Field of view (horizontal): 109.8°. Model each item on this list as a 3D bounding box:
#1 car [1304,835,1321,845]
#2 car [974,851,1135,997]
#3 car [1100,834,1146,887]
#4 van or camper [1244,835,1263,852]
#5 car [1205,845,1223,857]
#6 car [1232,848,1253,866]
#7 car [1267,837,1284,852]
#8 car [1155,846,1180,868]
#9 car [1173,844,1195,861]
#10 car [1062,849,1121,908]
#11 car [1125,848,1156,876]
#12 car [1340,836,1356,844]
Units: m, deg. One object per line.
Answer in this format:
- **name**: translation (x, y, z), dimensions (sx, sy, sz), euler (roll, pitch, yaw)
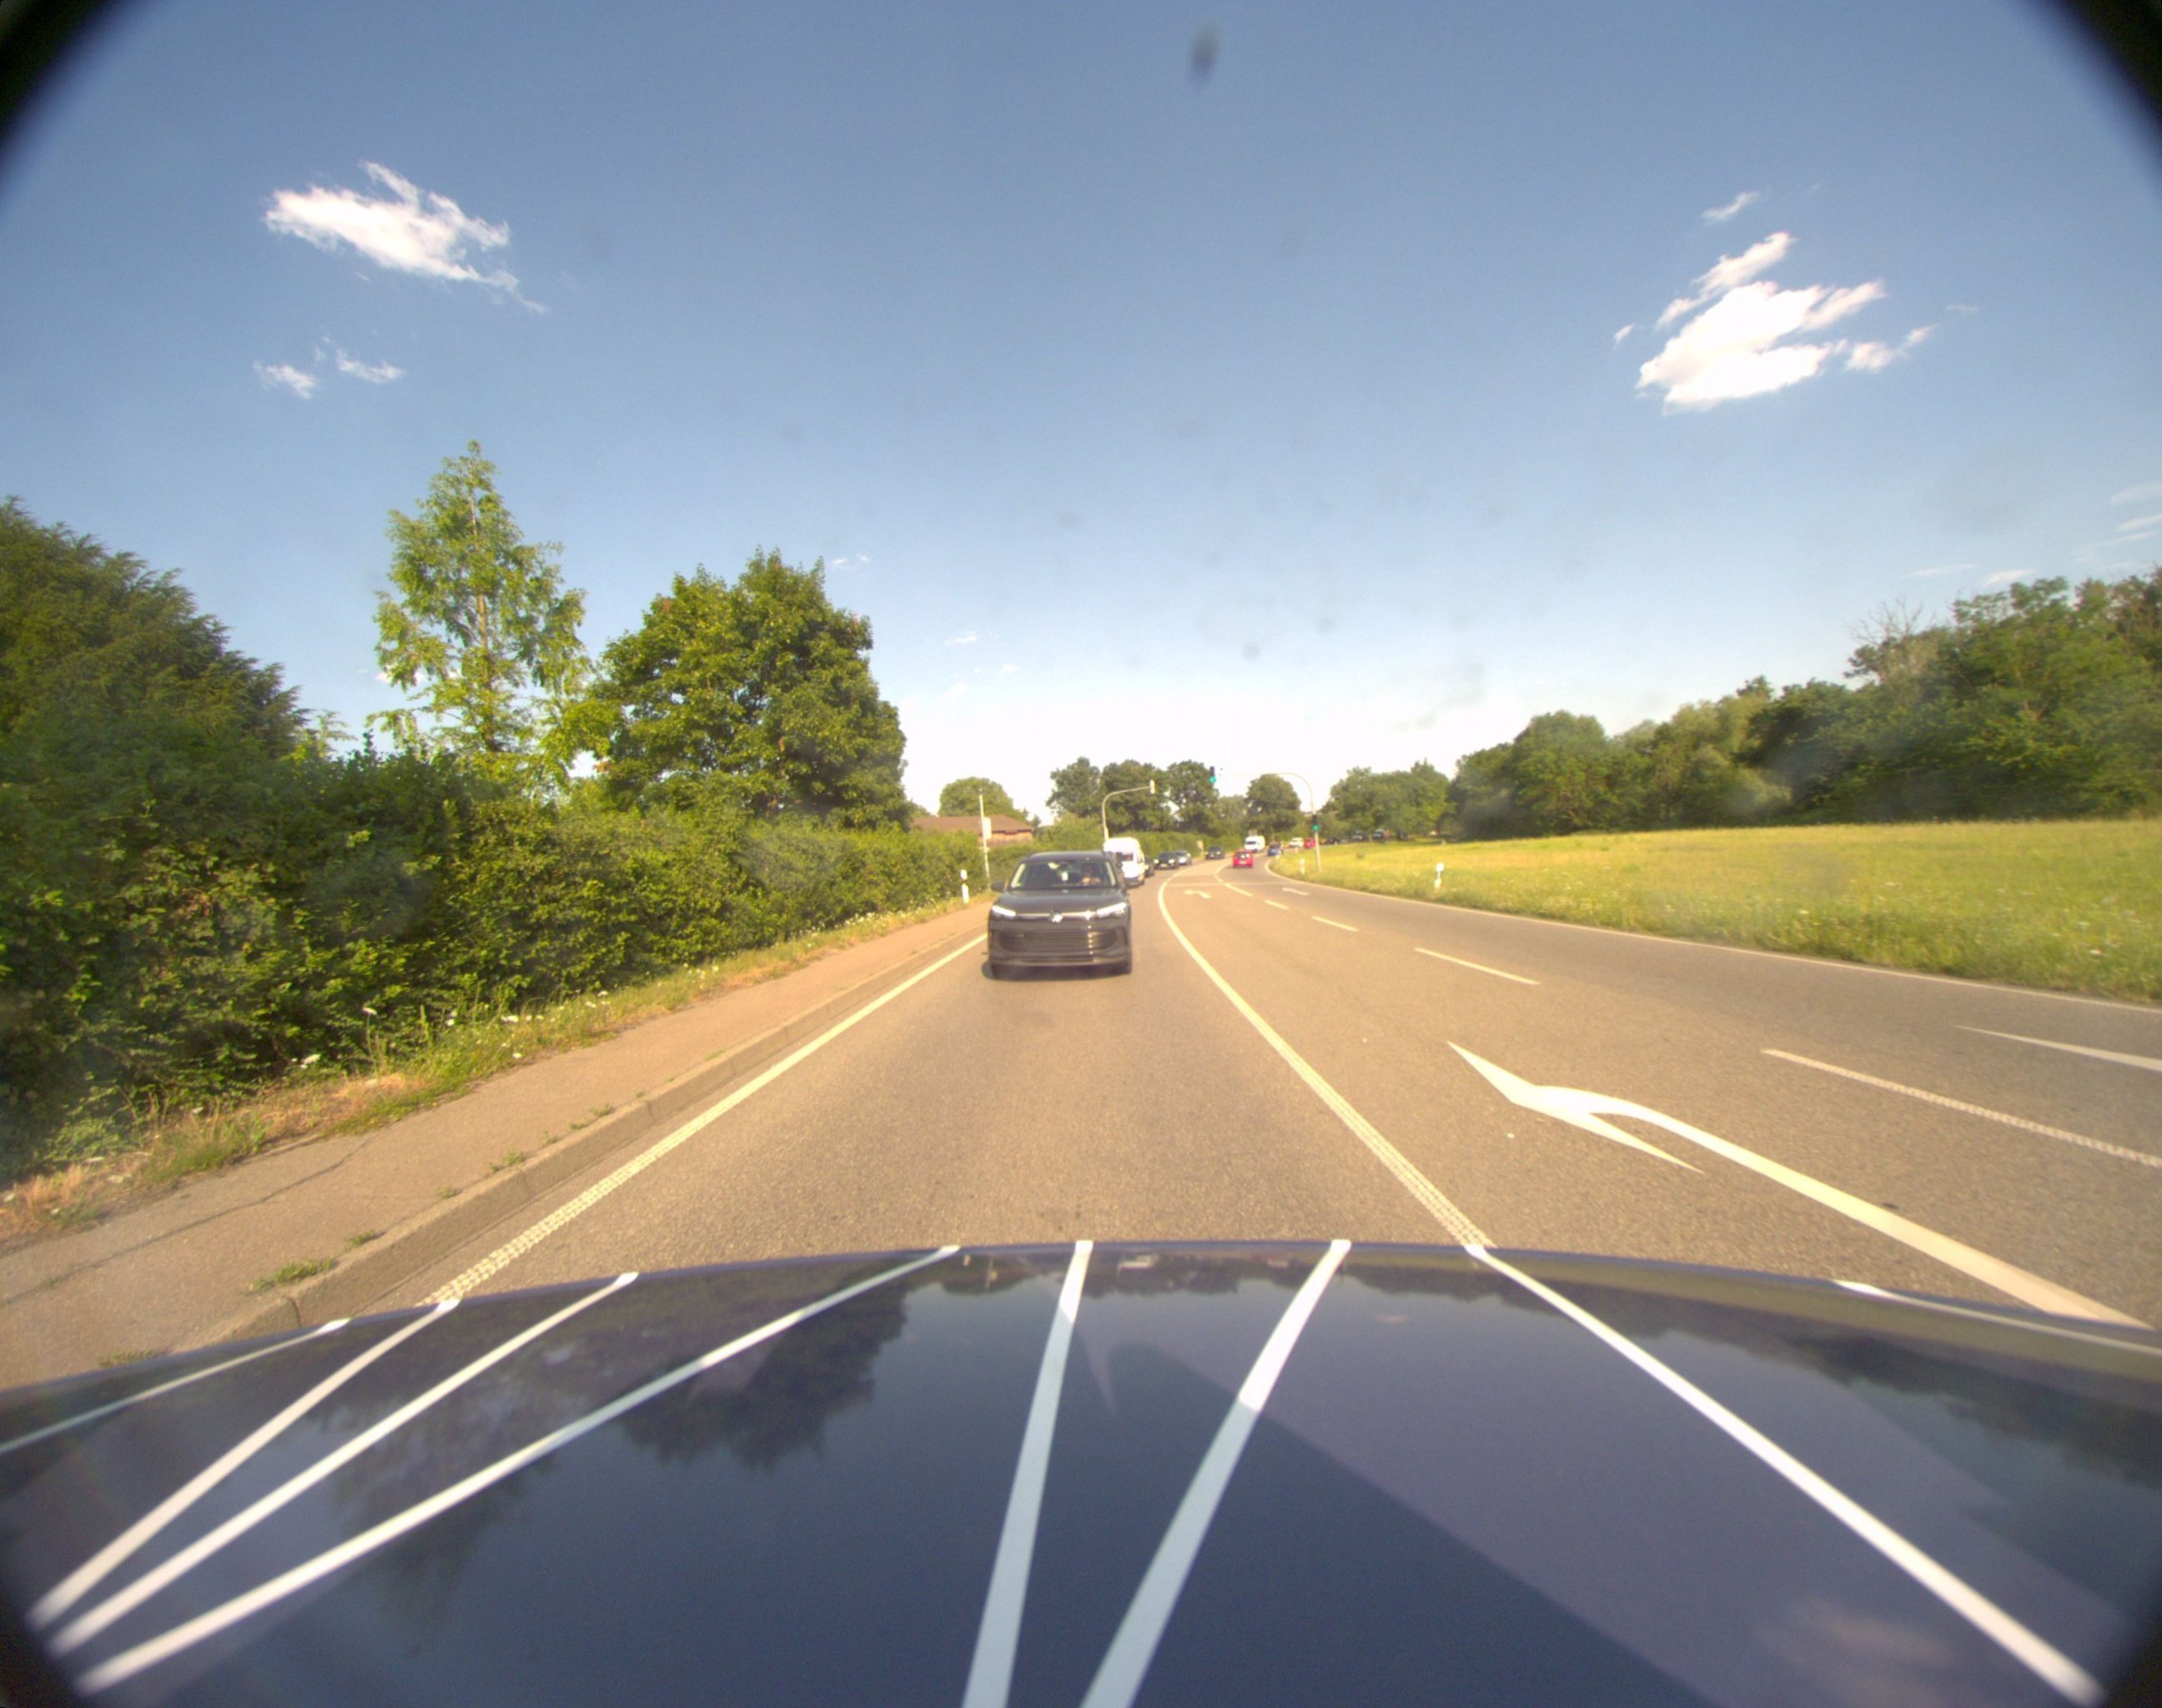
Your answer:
- **car**: translation (41.155, -2.476, 135.259), dimensions (1.881, 1.765, 4.330), euler (-1, 0, 31)
- **car**: translation (-0.247, 0.823, 10.964), dimensions (1.865, 1.633, 4.000), euler (-1, 1, 2)
- **car**: translation (2.098, 0.287, 36.311), dimensions (1.843, 2.338, 4.791), euler (-1, 1, 7)
- **van or camper**: translation (27.157, -1.726, 119.429), dimensions (2.031, 2.461, 5.084), euler (-4, 0, 22)
- **car**: translation (16.069, -0.388, 91.652), dimensions (1.605, 1.471, 3.621), euler (0, 1, 18)
- **car**: translation (13.402, 0.250, 63.124), dimensions (1.588, 1.458, 3.610), euler (-1, 0, 10)
- **car**: translation (25.753, -1.196, 100.518), dimensions (1.726, 1.871, 4.342), euler (-1, 0, 20)
- **car**: translation (7.177, 0.205, 62.728), dimensions (1.672, 1.718, 3.671), euler (0, 2, 13)
- **car**: translation (9.862, -0.147, 72.889), dimensions (1.633, 1.550, 3.420), euler (-1, 2, 15)
- **car**: translation (0.414, 0.711, 24.494), dimensions (1.659, 1.720, 3.805), euler (-1, 0, 4)
- **car**: translation (3.877, 0.483, 48.993), dimensions (1.692, 1.718, 3.670), euler (0, 1, 9)
- **car**: translation (56.805, -2.934, 161.741), dimensions (1.881, 1.577, 4.339), euler (-1, 0, 37)
